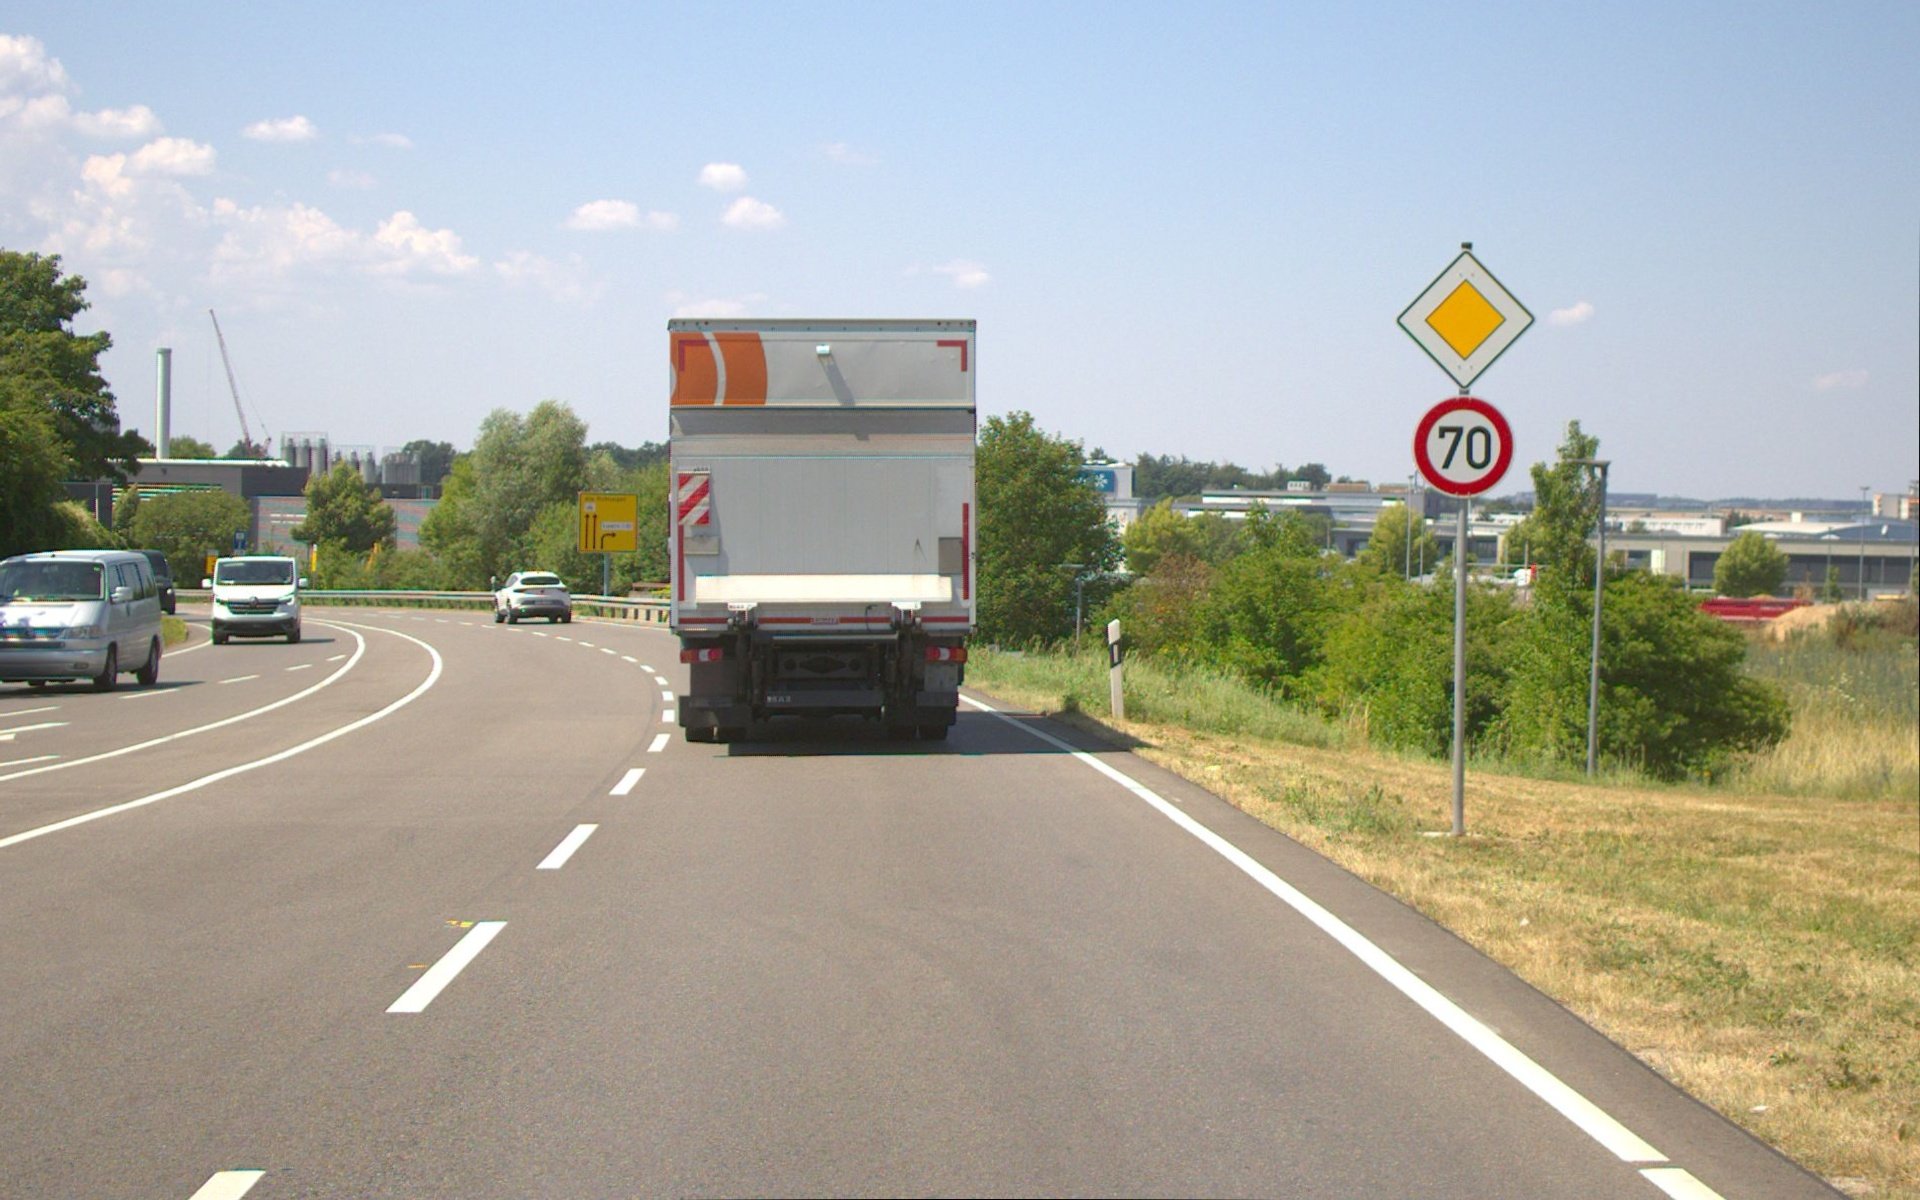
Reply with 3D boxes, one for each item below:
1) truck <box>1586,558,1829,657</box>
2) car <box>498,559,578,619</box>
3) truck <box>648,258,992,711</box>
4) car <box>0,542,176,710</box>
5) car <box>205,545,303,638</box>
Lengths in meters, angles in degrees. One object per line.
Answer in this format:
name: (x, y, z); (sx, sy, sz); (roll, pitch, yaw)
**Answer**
truck: (31.483, 0.278, 144.938); (9.402, 3.671, 3.127); (3, 2, 26)
car: (-12.338, -0.311, 100.369); (1.943, 1.658, 4.001); (2, -1, -12)
truck: (-1.184, -1.034, 32.657); (2.803, 3.698, 9.108); (0, 1, 0)
car: (-12.237, 0.296, 47.381); (1.973, 2.006, 4.841); (2, 2, -4)
car: (-15.925, -0.219, 77.774); (2.075, 2.007, 5.809); (0, 1, -11)
